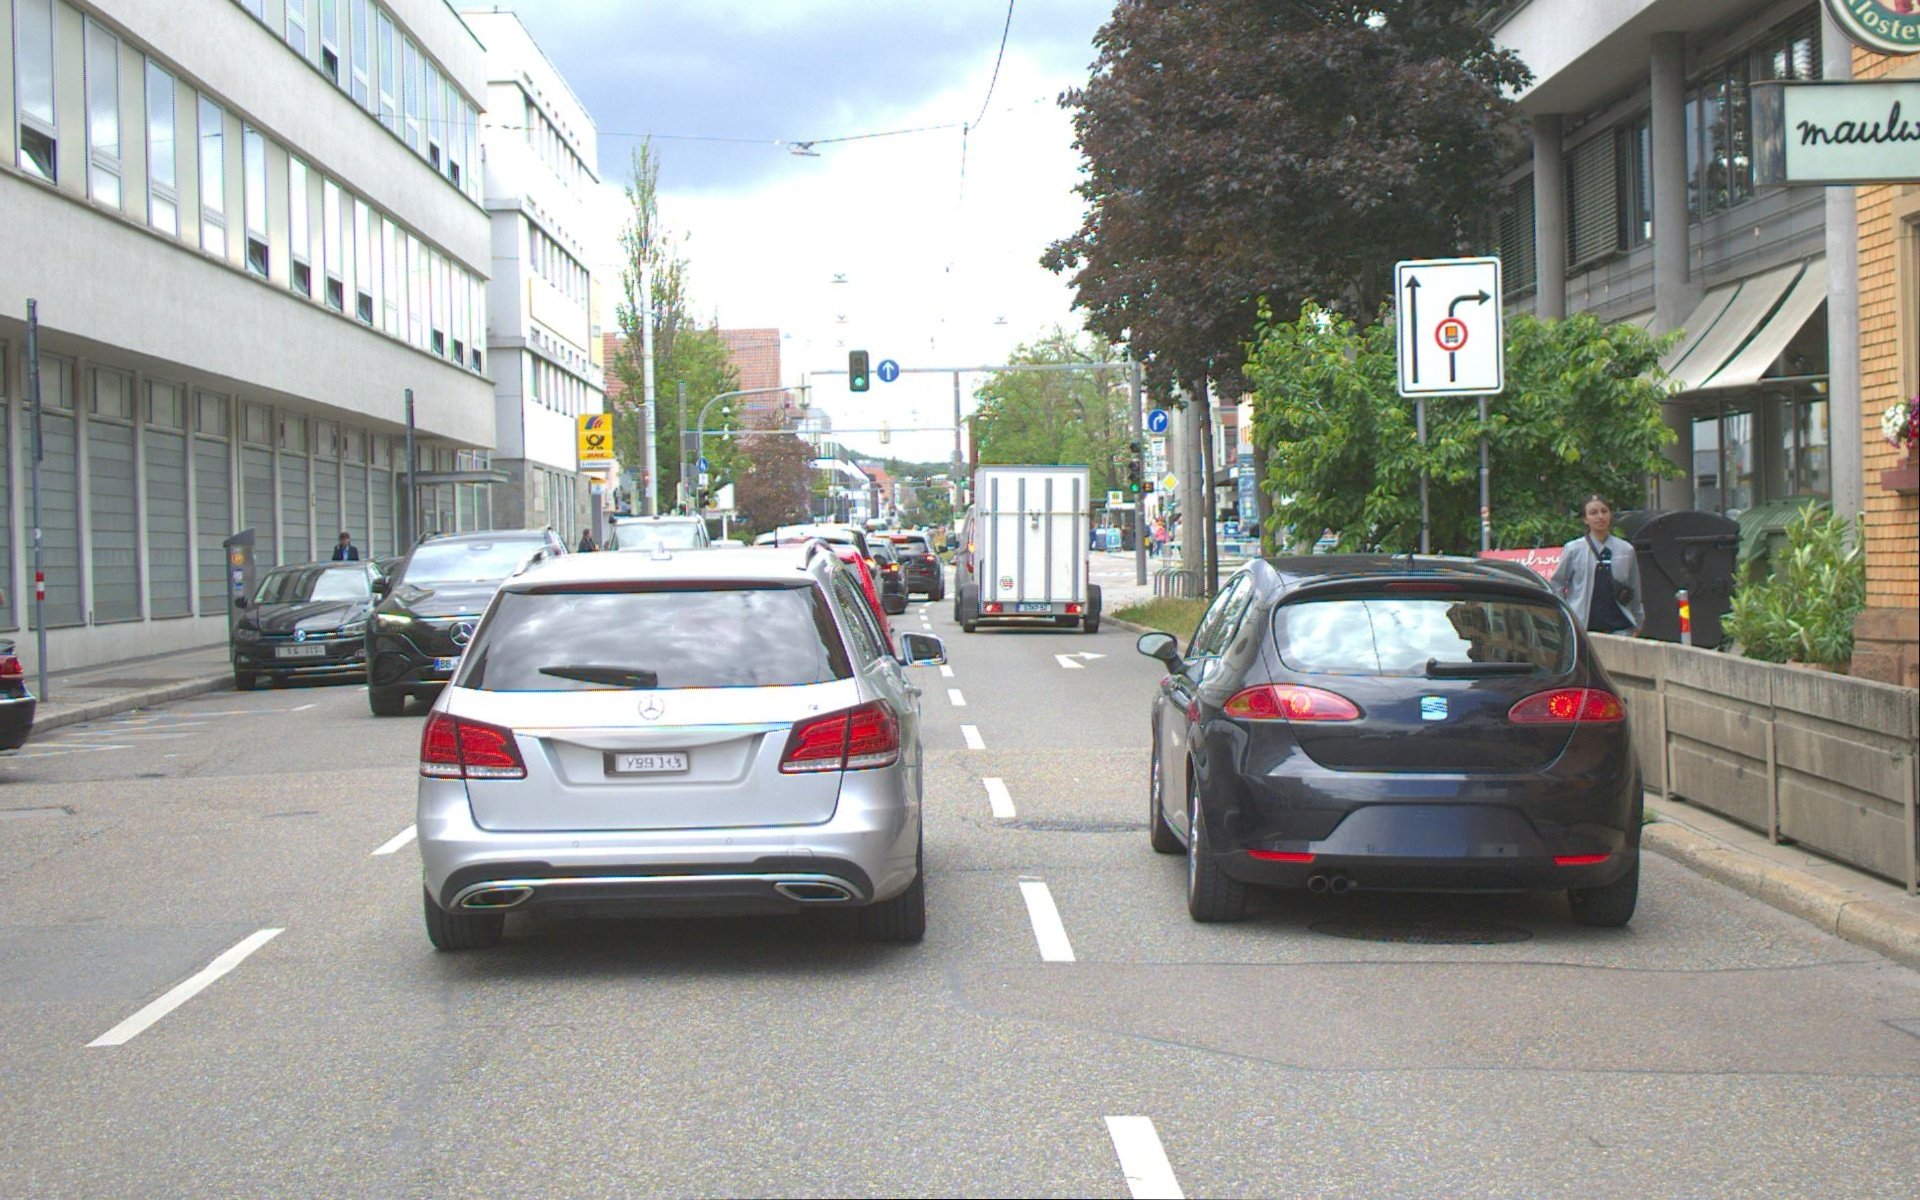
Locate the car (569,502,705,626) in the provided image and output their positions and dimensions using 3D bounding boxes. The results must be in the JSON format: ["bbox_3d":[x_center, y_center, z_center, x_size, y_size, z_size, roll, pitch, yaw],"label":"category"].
[{"bbox_3d":[-5.678,-0.665,60.913,1.993,2.007,4.903,-3,1,-2],"label":"car"}]

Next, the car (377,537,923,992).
[{"bbox_3d":[-1.092,0.518,13.429,1.803,1.487,3.738,-1,1,-2],"label":"car"}]

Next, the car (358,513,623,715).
[{"bbox_3d":[-4.461,0.080,33.320,1.993,1.733,4.554,-3,1,-2],"label":"car"}]

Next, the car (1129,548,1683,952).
[{"bbox_3d":[1.739,0.524,14.568,1.765,1.428,3.829,-1,1,-1],"label":"car"}]

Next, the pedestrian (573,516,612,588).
[{"bbox_3d":[-9.664,-1.274,90.455,0.918,1.862,0.783,-1,1,-2],"label":"pedestrian"}]

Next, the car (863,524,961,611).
[{"bbox_3d":[-0.933,-0.639,65.143,1.803,1.596,3.738,0,1,-2],"label":"car"}]

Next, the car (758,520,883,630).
[{"bbox_3d":[-2.070,-0.397,51.517,1.803,1.596,3.738,0,1,-2],"label":"car"}]

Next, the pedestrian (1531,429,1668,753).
[{"bbox_3d":[4.050,-0.063,21.802,0.693,2.007,0.677,-1,1,-2],"label":"pedestrian"}]

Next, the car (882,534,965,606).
[{"bbox_3d":[-0.848,-0.701,77.819,1.803,1.596,3.738,0,1,-2],"label":"car"}]

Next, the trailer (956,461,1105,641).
[{"bbox_3d":[1.030,-0.770,53.007,1.993,2.598,5.350,-1,1,-2],"label":"trailer"}]

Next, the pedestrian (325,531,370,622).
[{"bbox_3d":[-10.938,-0.426,61.402,0.656,1.617,0.681,-1,1,0],"label":"pedestrian"}]

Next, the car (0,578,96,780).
[{"bbox_3d":[-8.347,0.581,23.495,4.398,1.361,1.786,-2,1,-30],"label":"car"}]

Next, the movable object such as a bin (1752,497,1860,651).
[{"bbox_3d":[8.480,-0.259,34.478,0.821,1.485,0.732,-3,0,0],"label":"movable object such as a bin"}]

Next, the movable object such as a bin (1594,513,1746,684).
[{"bbox_3d":[6.404,-0.023,31.076,0.943,1.465,1.446,-3,1,-3],"label":"movable object such as a bin"}]

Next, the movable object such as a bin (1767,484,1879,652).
[{"bbox_3d":[8.460,-0.313,33.722,0.821,1.584,0.732,-3,0,0],"label":"movable object such as a bin"}]

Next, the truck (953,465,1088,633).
[{"bbox_3d":[0.952,-0.834,55.796,1.993,2.598,3.260,-1,1,-2],"label":"truck"}]

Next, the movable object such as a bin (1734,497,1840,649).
[{"bbox_3d":[8.472,-0.272,35.235,0.821,1.499,0.732,-3,0,0],"label":"movable object such as a bin"}]

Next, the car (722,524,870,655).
[{"bbox_3d":[-2.053,-0.164,43.790,1.803,1.596,3.738,0,1,-2],"label":"car"}]

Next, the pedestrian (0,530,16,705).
[{"bbox_3d":[-10.037,0.181,34.938,0.642,1.763,0.810,-1,1,-2],"label":"pedestrian"}]

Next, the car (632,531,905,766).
[{"bbox_3d":[-1.342,0.289,24.990,1.803,1.547,3.738,-1,1,-2],"label":"car"}]

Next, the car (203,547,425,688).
[{"bbox_3d":[-7.625,0.165,40.958,1.912,1.511,4.175,-2,1,-2],"label":"car"}]

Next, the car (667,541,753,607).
[{"bbox_3d":[-5.809,-0.632,80.372,1.769,1.408,4.175,-2,1,-2],"label":"car"}]
